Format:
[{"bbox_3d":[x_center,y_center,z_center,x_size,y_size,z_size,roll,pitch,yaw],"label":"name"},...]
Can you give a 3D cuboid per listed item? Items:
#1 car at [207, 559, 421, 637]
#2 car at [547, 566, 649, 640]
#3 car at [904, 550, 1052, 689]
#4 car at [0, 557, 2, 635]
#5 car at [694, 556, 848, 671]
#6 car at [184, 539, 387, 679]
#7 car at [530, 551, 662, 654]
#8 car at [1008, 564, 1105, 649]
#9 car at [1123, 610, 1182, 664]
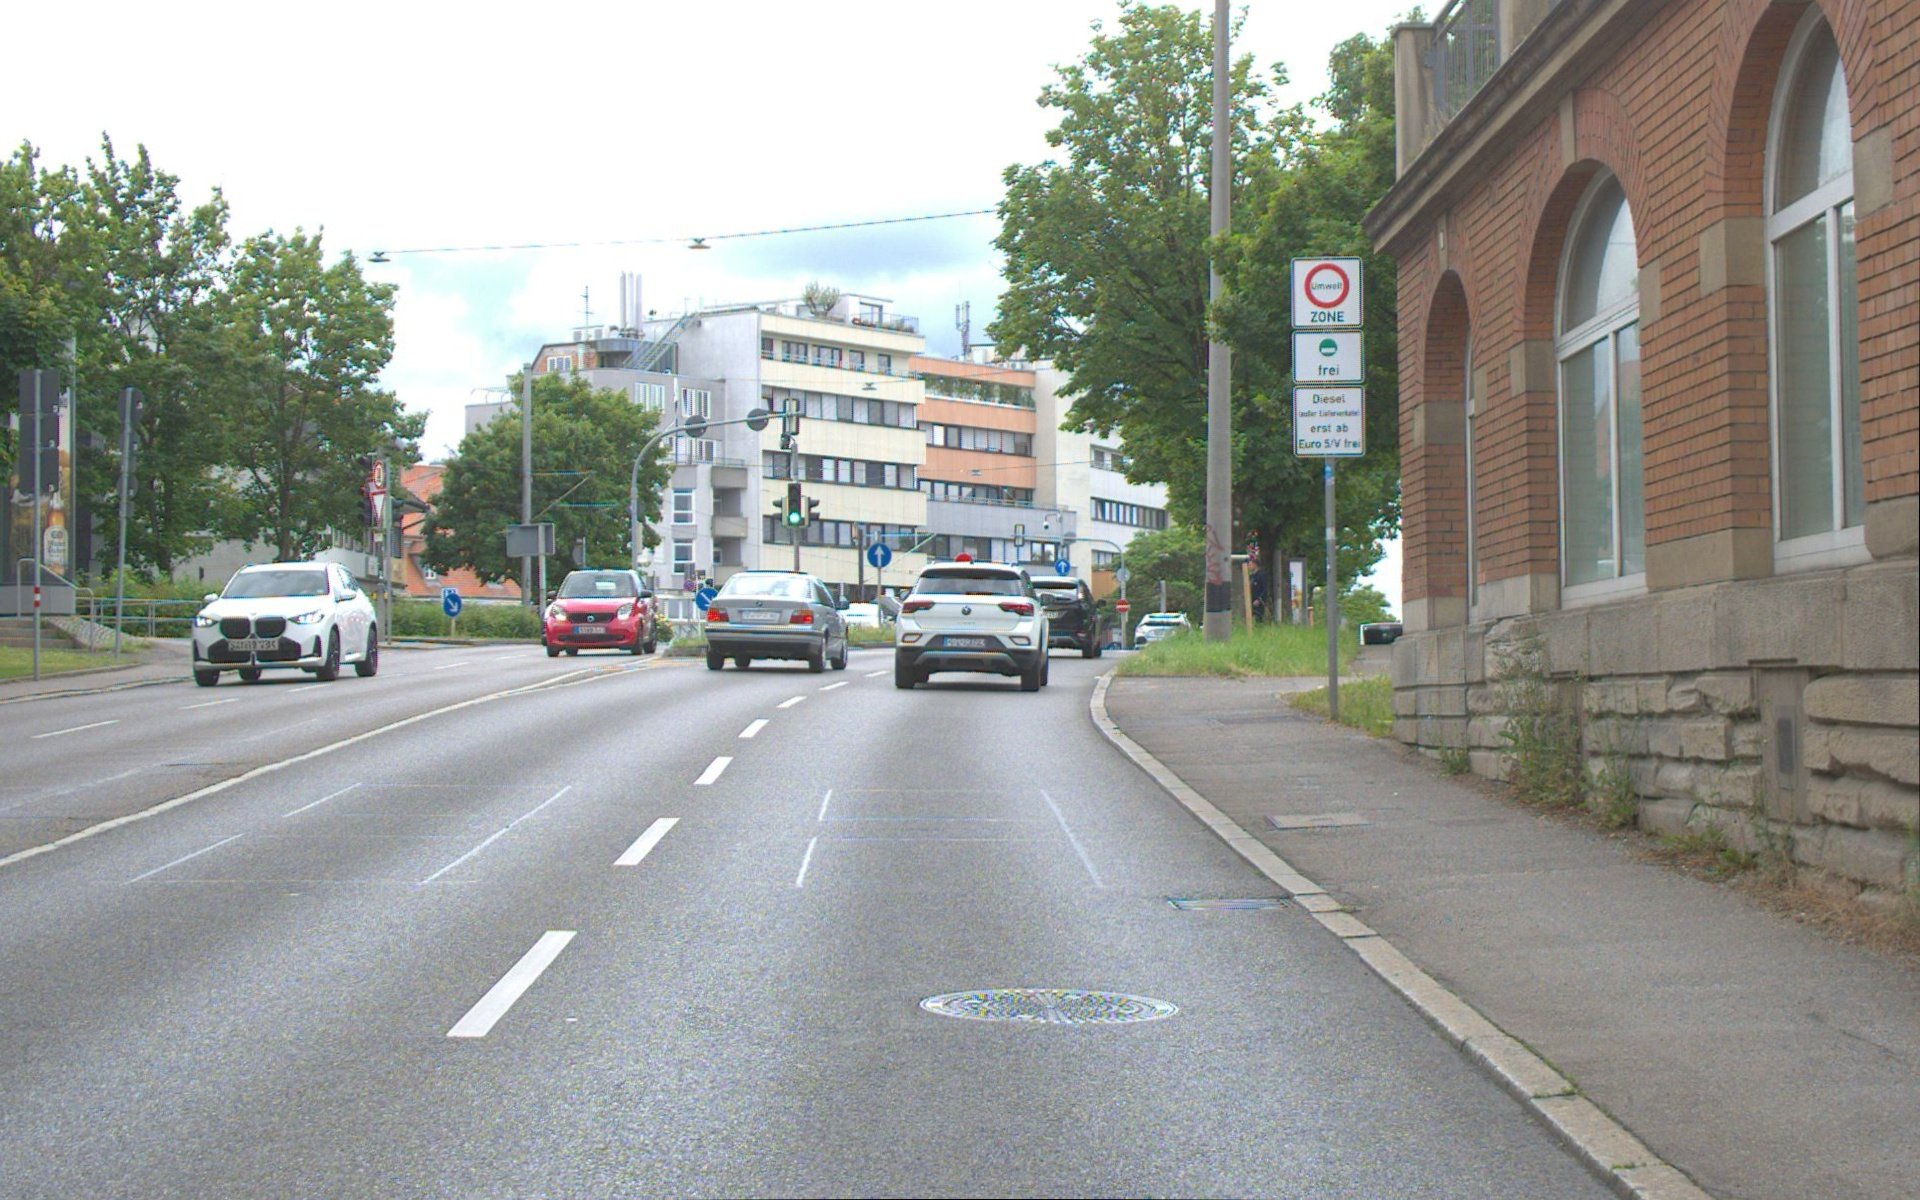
[{"bbox_3d":[-13.122,-0.039,69.939,1.780,1.539,3.990,0,0,44],"label":"car"},{"bbox_3d":[-7.919,0.046,75.494,1.747,1.489,4.207,-3,1,0],"label":"car"},{"bbox_3d":[0.185,0.207,42.995,1.700,1.543,3.736,3,1,-1],"label":"car"},{"bbox_3d":[-19.742,-0.099,62.920,1.778,1.458,4.434,2,1,25],"label":"car"},{"bbox_3d":[-2.624,0.156,48.498,1.700,1.511,3.736,0,1,4],"label":"car"},{"bbox_3d":[-9.360,0.089,48.056,1.869,1.783,4.654,-3,1,0],"label":"car"},{"bbox_3d":[-6.519,0.014,62.017,1.869,1.696,4.429,-3,1,0],"label":"car"},{"bbox_3d":[1.762,0.142,63.471,1.700,1.511,3.493,0,-1,0],"label":"car"},{"bbox_3d":[5.995,1.125,106.771,1.770,1.565,4.284,0,1,4],"label":"car"}]
